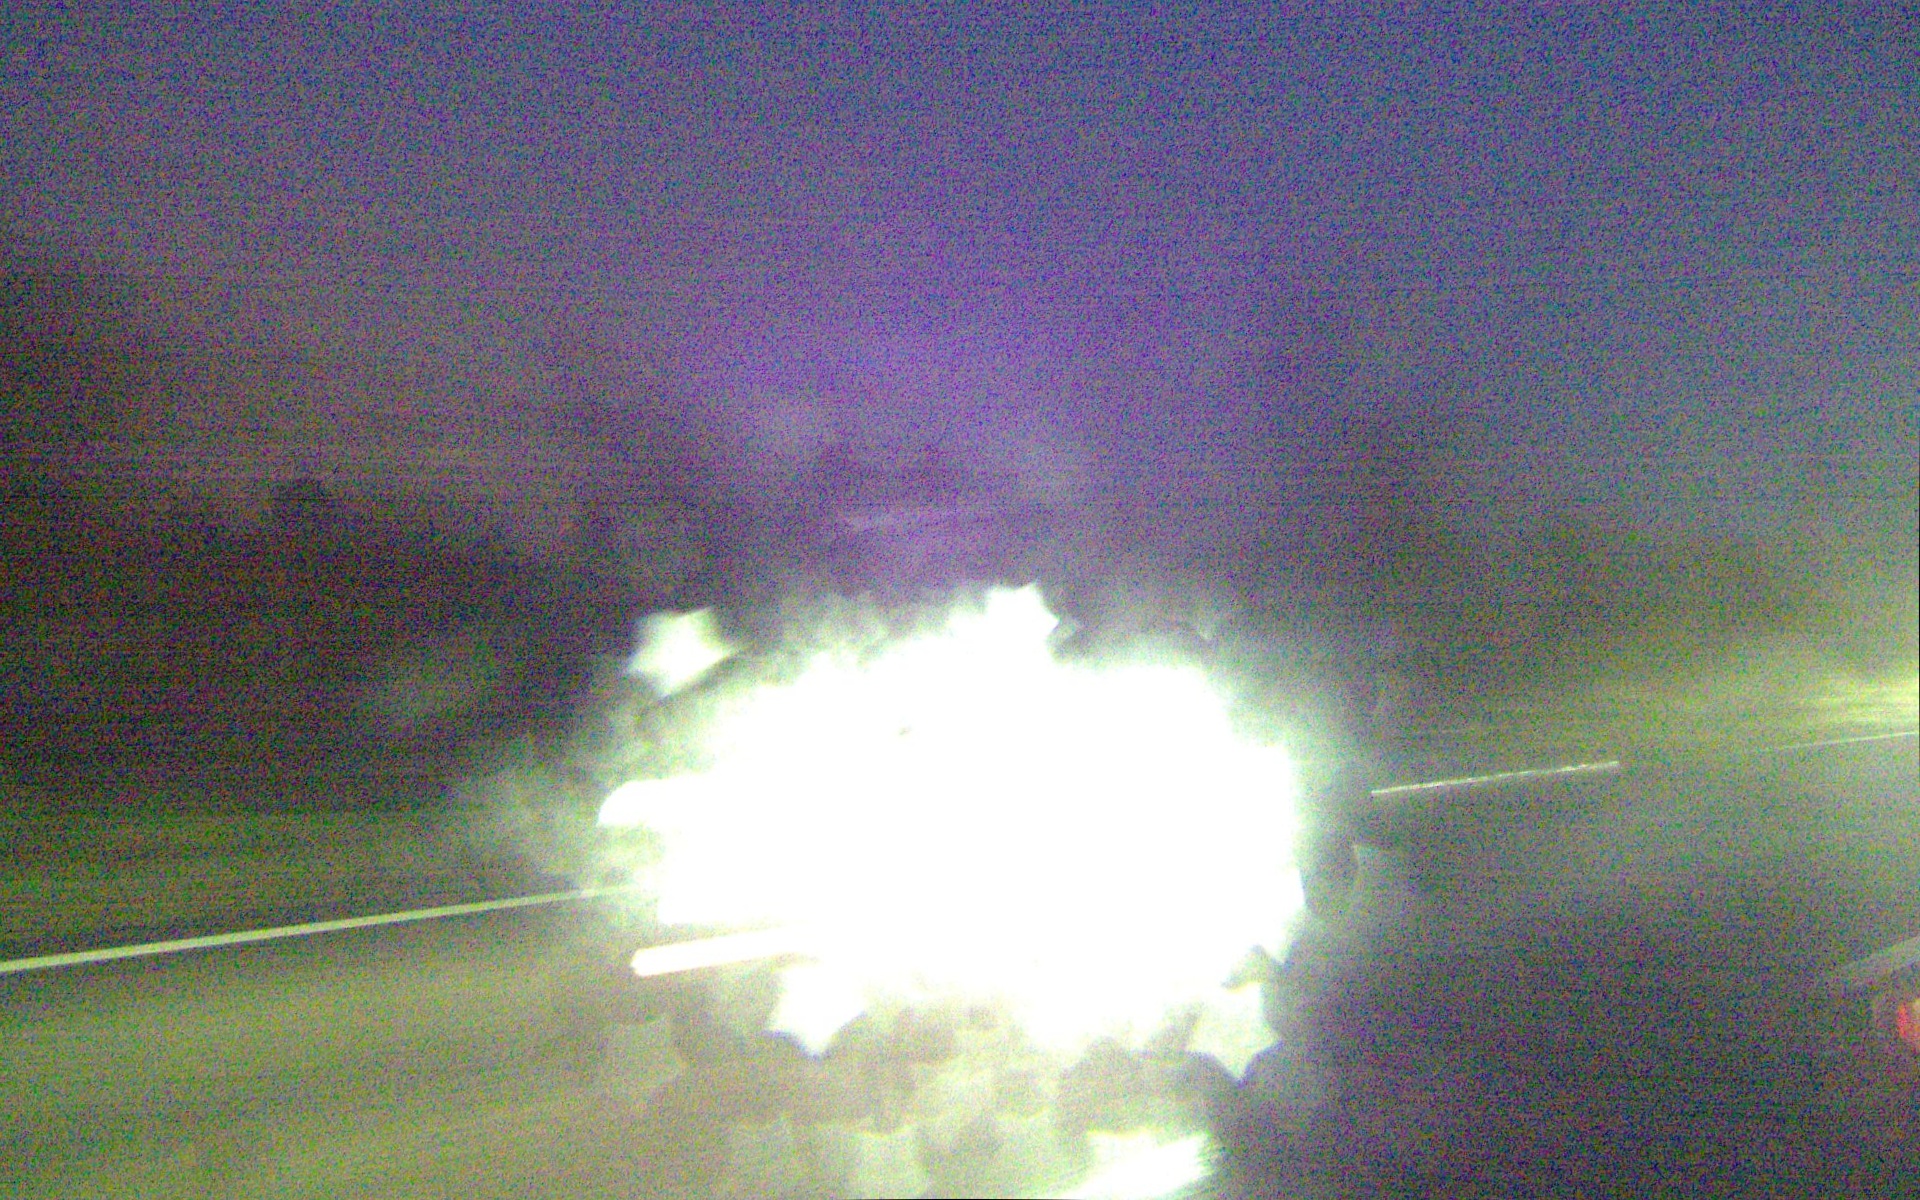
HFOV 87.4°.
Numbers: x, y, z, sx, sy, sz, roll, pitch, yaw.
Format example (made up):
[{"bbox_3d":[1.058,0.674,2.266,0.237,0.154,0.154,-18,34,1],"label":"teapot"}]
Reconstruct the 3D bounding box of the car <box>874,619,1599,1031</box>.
[{"bbox_3d":[1.461,0.859,5.049,3.430,1.420,1.588,2,-3,-31],"label":"car"}]
